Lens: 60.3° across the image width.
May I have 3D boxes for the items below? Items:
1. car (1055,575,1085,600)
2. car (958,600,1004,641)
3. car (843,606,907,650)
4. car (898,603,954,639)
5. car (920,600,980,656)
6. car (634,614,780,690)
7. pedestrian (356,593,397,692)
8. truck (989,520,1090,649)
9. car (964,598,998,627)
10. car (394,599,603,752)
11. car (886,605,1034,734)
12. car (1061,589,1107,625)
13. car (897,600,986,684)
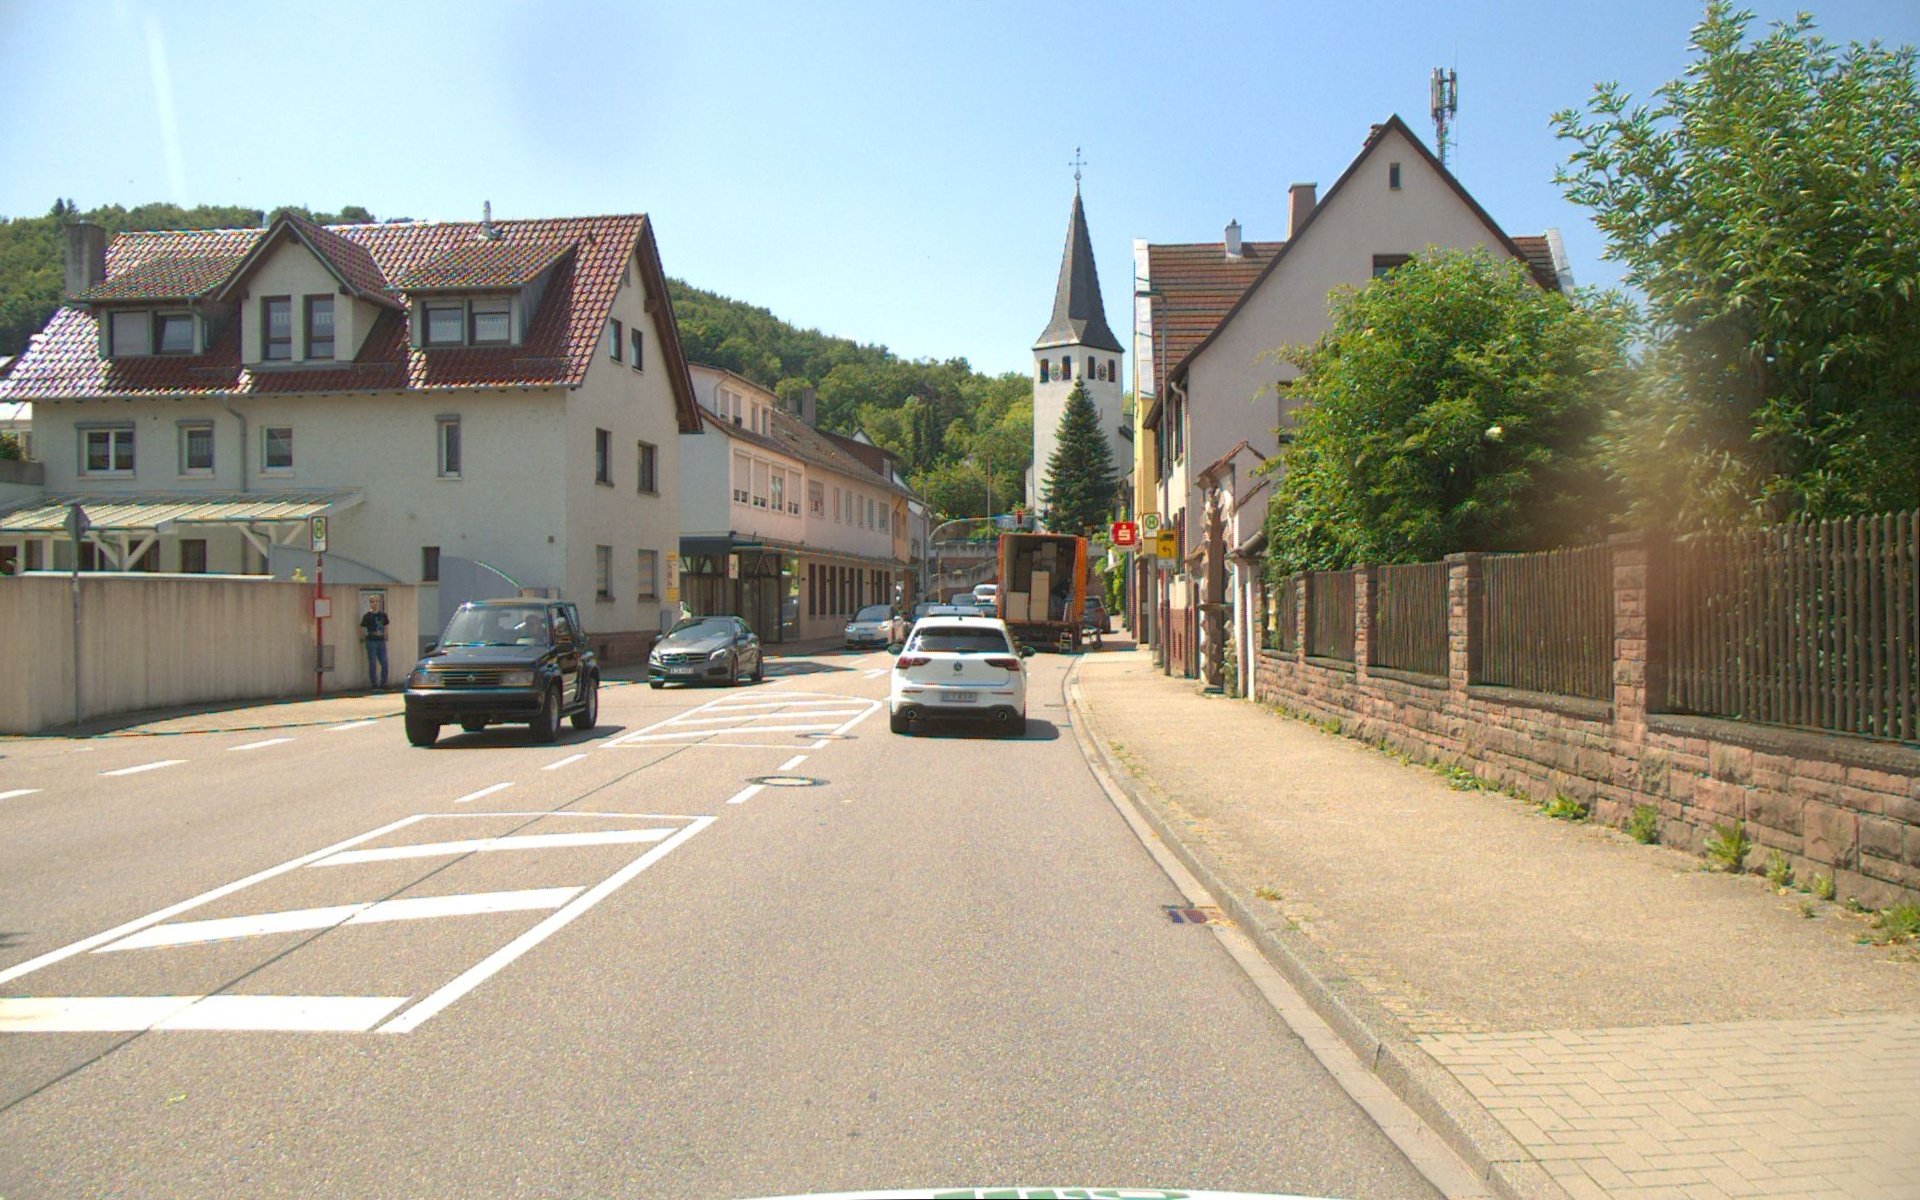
[{"bbox_3d":[7.363,-0.800,111.185,1.778,1.545,4.000,-2,-1,1],"label":"car"},{"bbox_3d":[0.868,0.844,67.398,1.778,1.545,4.000,-2,-1,1],"label":"car"},{"bbox_3d":[-3.099,1.020,60.755,1.757,1.534,4.136,-2,-1,5],"label":"car"},{"bbox_3d":[-1.483,0.935,73.850,1.755,1.519,4.424,-2,-1,8],"label":"car"},{"bbox_3d":[-0.274,0.880,52.269,1.778,1.657,4.000,-2,-1,1],"label":"car"},{"bbox_3d":[-5.264,1.059,34.970,1.823,1.467,4.220,-2,-1,9],"label":"car"},{"bbox_3d":[-10.710,0.781,30.368,0.425,1.795,0.557,-1,0,19],"label":"pedestrian"},{"bbox_3d":[2.922,-0.439,60.209,3.296,4.243,9.522,-2,-1,3],"label":"truck"},{"bbox_3d":[1.443,0.808,111.691,1.763,1.811,4.708,-2,0,6],"label":"car"},{"bbox_3d":[-5.525,0.847,20.232,1.704,1.680,3.666,0,0,-3],"label":"car"},{"bbox_3d":[0.030,0.871,21.984,1.778,1.546,4.000,1,-1,1],"label":"car"},{"bbox_3d":[5.609,0.351,75.071,1.778,1.545,4.000,-2,-1,1],"label":"car"},{"bbox_3d":[-0.349,0.885,35.703,1.778,1.657,4.000,-2,-1,1],"label":"car"}]
